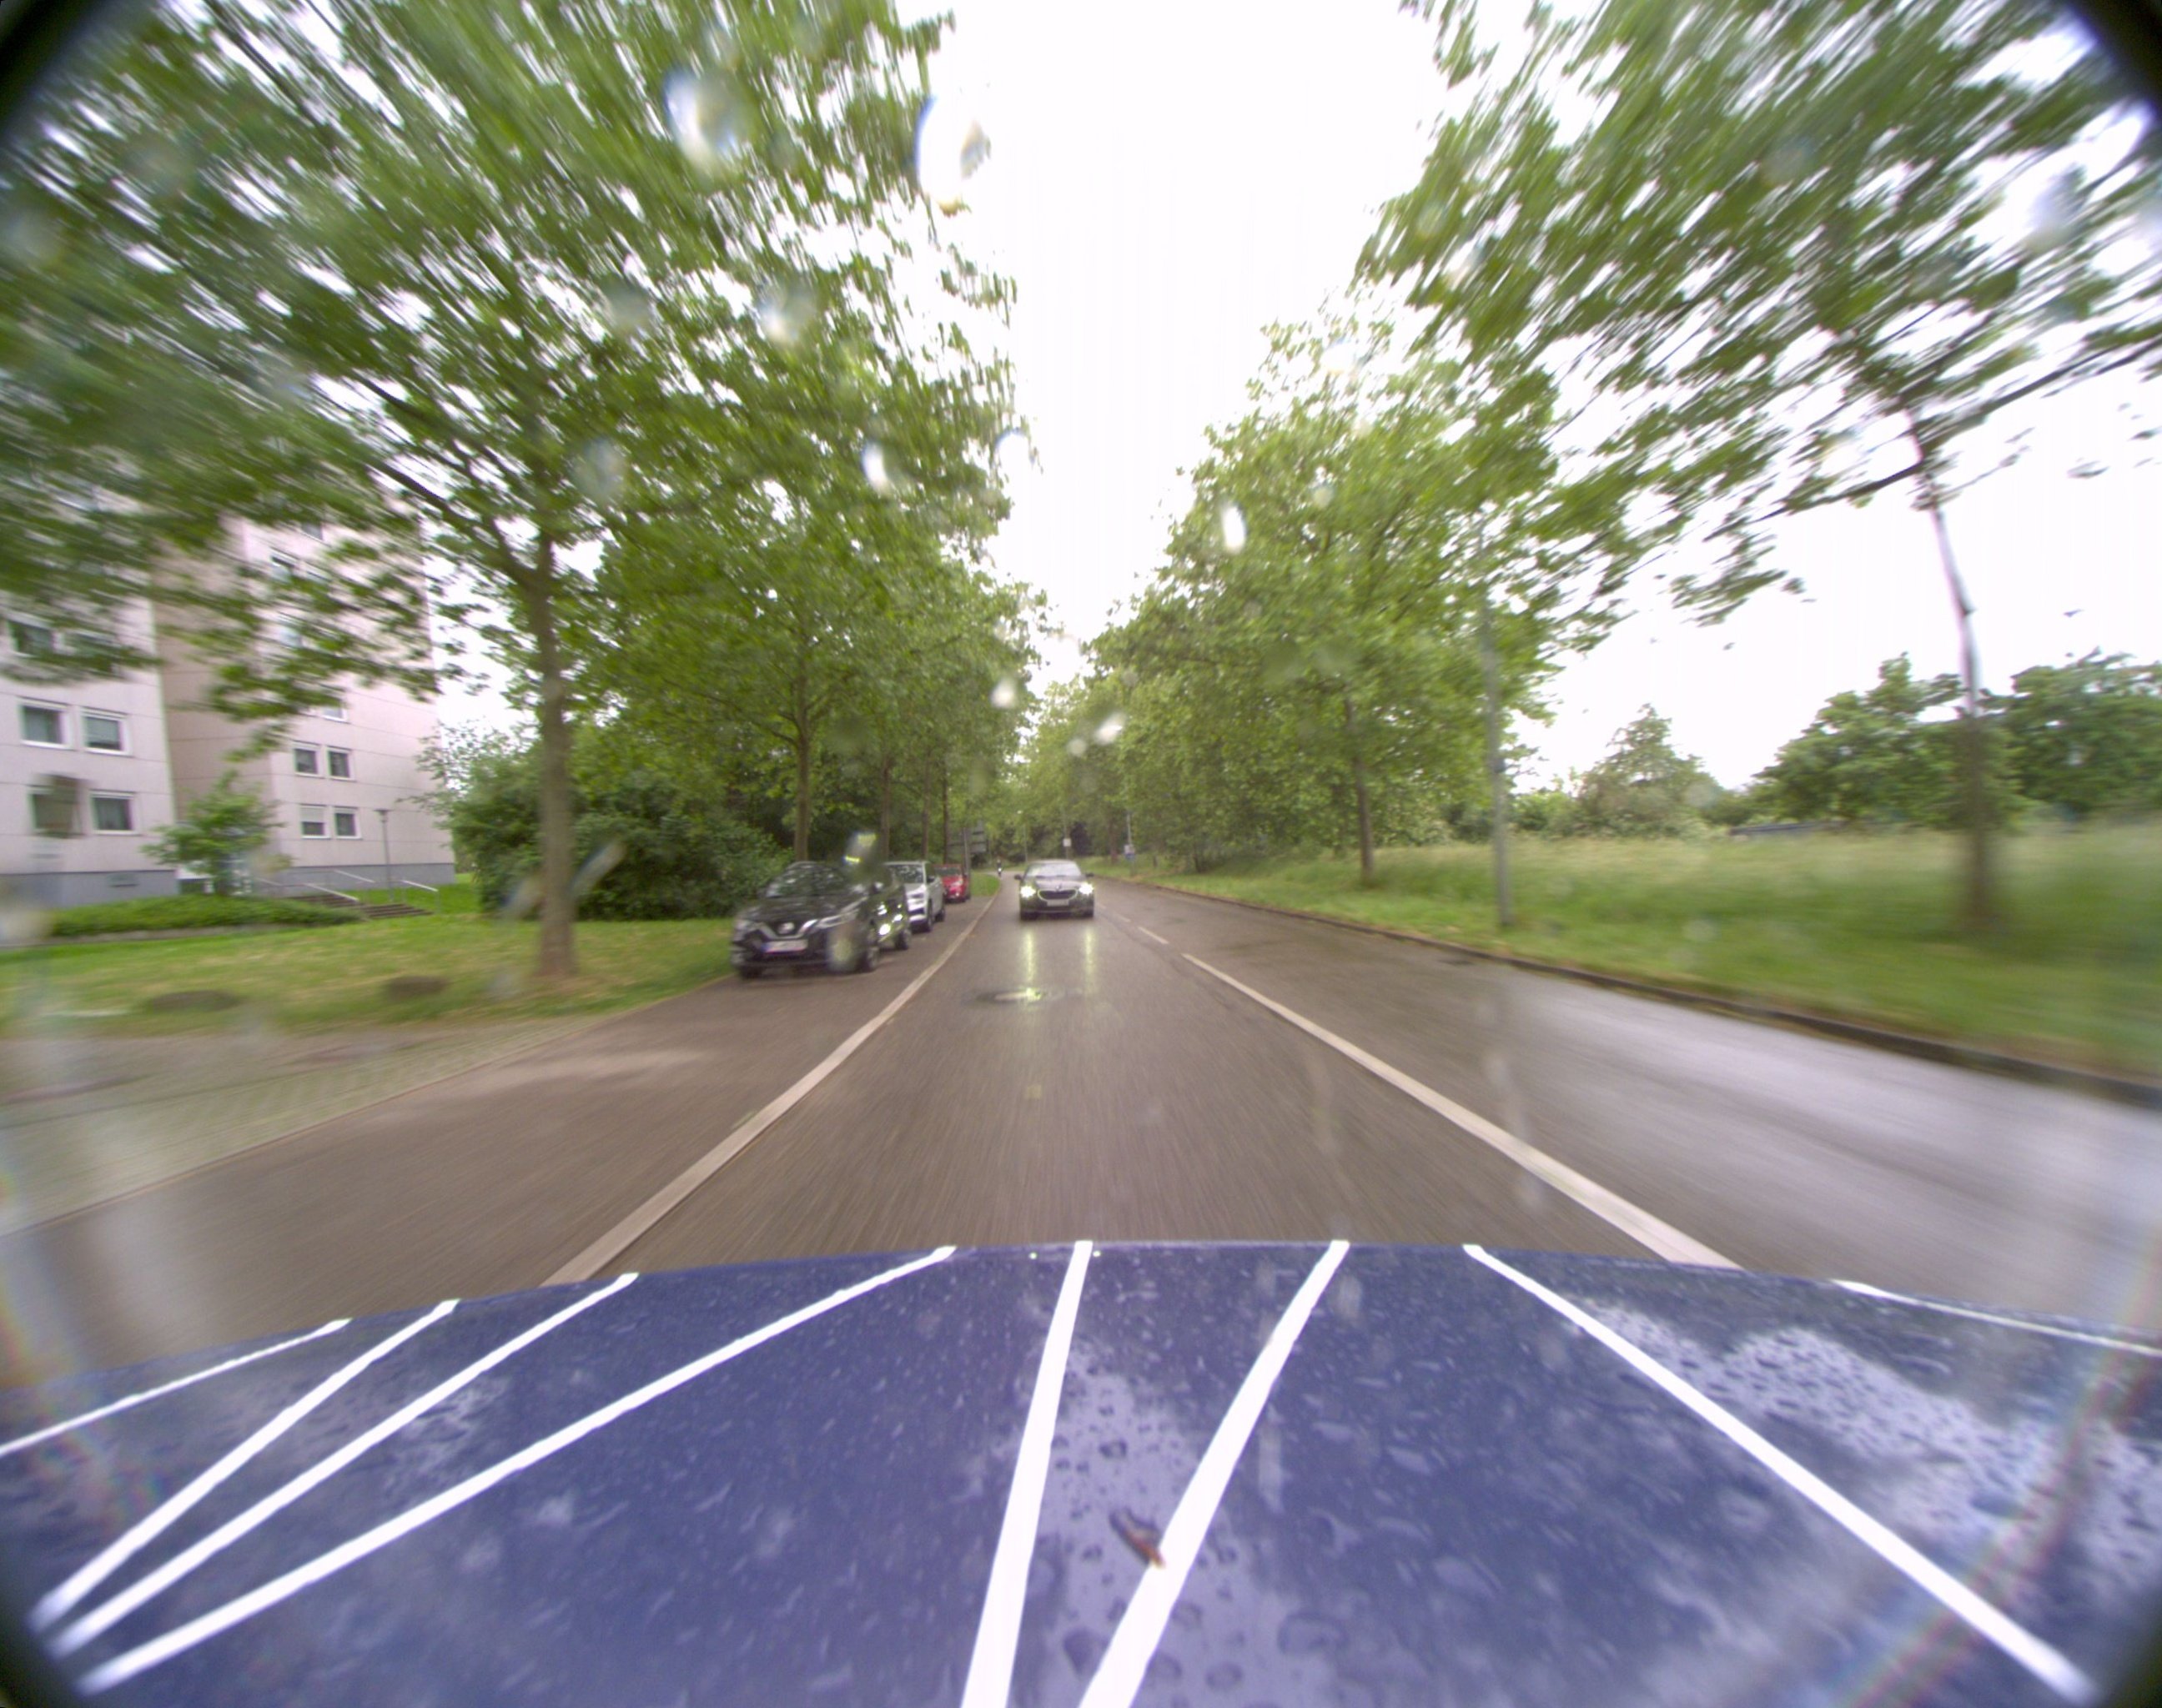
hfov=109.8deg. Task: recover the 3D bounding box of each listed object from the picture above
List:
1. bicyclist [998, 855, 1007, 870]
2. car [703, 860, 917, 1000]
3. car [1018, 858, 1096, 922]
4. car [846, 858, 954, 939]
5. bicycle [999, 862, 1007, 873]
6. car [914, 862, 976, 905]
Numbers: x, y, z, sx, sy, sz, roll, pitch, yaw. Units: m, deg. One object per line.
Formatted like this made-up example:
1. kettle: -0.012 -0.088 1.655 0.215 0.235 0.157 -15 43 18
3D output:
1. bicyclist: -8.110 0.860 78.391 0.698 1.489 0.799 -5 1 -15
2. car: -3.830 0.954 11.633 1.806 1.592 4.369 -3 1 -3
3. car: -0.749 0.907 20.968 1.844 1.485 4.900 -3 0 -4
4. car: -4.118 0.936 17.931 1.733 1.582 4.251 -2 1 -4
5. bicycle: -8.036 1.391 78.407 0.454 1.127 1.831 -6 1 -15
6. car: -5.079 1.062 28.810 1.802 1.364 3.742 -2 1 -4
